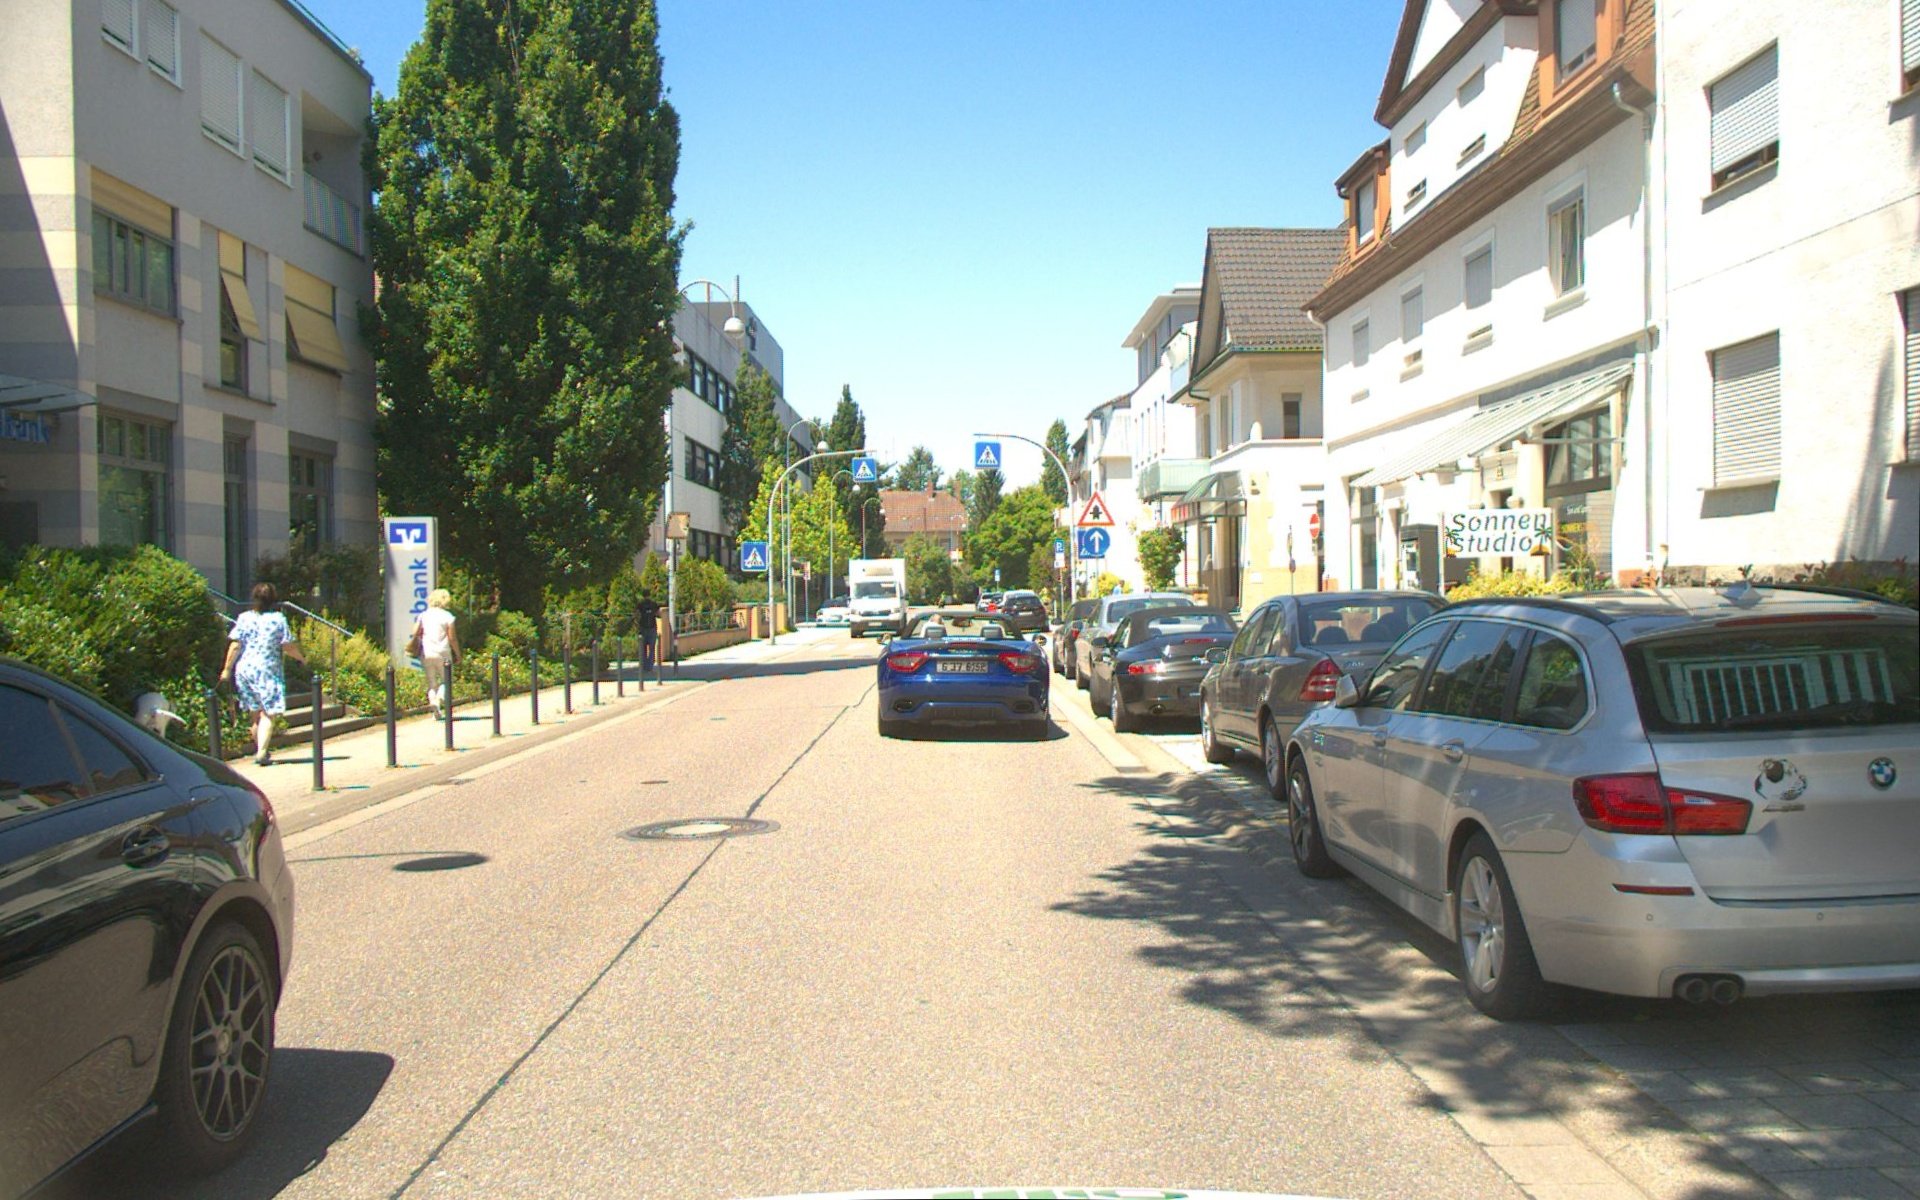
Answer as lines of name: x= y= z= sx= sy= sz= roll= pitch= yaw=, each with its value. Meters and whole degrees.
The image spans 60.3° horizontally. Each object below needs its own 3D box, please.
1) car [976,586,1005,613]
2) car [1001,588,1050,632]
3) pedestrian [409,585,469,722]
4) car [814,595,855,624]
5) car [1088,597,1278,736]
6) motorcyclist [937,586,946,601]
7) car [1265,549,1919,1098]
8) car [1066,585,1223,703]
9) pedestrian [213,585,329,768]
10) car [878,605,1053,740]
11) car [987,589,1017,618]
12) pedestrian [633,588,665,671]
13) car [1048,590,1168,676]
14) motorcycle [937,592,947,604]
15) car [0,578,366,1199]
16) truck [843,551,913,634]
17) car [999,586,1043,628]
car: x=1.990 y=-0.078 z=108.789 sx=1.806 sy=1.647 sz=4.427 roll=-3 pitch=0 yaw=0
car: x=2.517 y=0.373 z=64.170 sx=1.670 sy=1.583 sz=4.748 roll=-2 pitch=0 yaw=0
pedestrian: x=-6.637 y=0.667 z=21.106 sx=0.525 sy=1.714 sz=0.708 roll=-1 pitch=0 yaw=-1
car: x=-6.373 y=0.466 z=84.307 sx=1.785 sy=1.436 sz=4.577 roll=0 pitch=0 yaw=0
car: x=2.458 y=0.677 z=19.111 sx=1.526 sy=1.364 sz=4.173 roll=-2 pitch=0 yaw=-1
motorcyclist: x=-1.753 y=-0.633 z=158.359 sx=0.684 sy=1.458 sz=0.708 roll=-2 pitch=0 yaw=7
car: x=2.712 y=0.617 z=7.149 sx=1.792 sy=1.537 sz=4.759 roll=-2 pitch=0 yaw=-1
car: x=2.645 y=0.591 z=24.757 sx=1.708 sy=1.494 sz=4.851 roll=-3 pitch=0 yaw=0
pedestrian: x=-6.536 y=0.706 z=15.724 sx=0.733 sy=1.673 sz=0.848 roll=-1 pitch=0 yaw=-2
car: x=0.040 y=0.748 z=19.255 sx=1.789 sy=1.360 sz=4.700 roll=0 pitch=0 yaw=0
car: x=2.318 y=0.164 z=91.883 sx=1.571 sy=1.465 sz=3.853 roll=-4 pitch=0 yaw=1
pedestrian: x=-6.503 y=0.613 z=34.566 sx=0.525 sy=1.714 sz=0.708 roll=-1 pitch=0 yaw=-1
car: x=2.759 y=0.585 z=31.800 sx=1.789 sy=1.451 sz=4.700 roll=-3 pitch=0 yaw=0
motorcycle: x=-1.721 y=-0.168 z=158.453 sx=0.684 sy=1.126 sz=1.791 roll=-3 pitch=0 yaw=7
car: x=-2.747 y=0.749 z=3.028 sx=1.792 sy=1.537 sz=4.262 roll=-1 pitch=1 yaw=-1
truck: x=-3.162 y=-0.299 z=65.136 sx=2.370 sy=3.035 sz=6.257 roll=-2 pitch=0 yaw=0
car: x=2.546 y=0.278 z=70.070 sx=1.670 sy=1.695 sz=4.580 roll=-1 pitch=0 yaw=0
